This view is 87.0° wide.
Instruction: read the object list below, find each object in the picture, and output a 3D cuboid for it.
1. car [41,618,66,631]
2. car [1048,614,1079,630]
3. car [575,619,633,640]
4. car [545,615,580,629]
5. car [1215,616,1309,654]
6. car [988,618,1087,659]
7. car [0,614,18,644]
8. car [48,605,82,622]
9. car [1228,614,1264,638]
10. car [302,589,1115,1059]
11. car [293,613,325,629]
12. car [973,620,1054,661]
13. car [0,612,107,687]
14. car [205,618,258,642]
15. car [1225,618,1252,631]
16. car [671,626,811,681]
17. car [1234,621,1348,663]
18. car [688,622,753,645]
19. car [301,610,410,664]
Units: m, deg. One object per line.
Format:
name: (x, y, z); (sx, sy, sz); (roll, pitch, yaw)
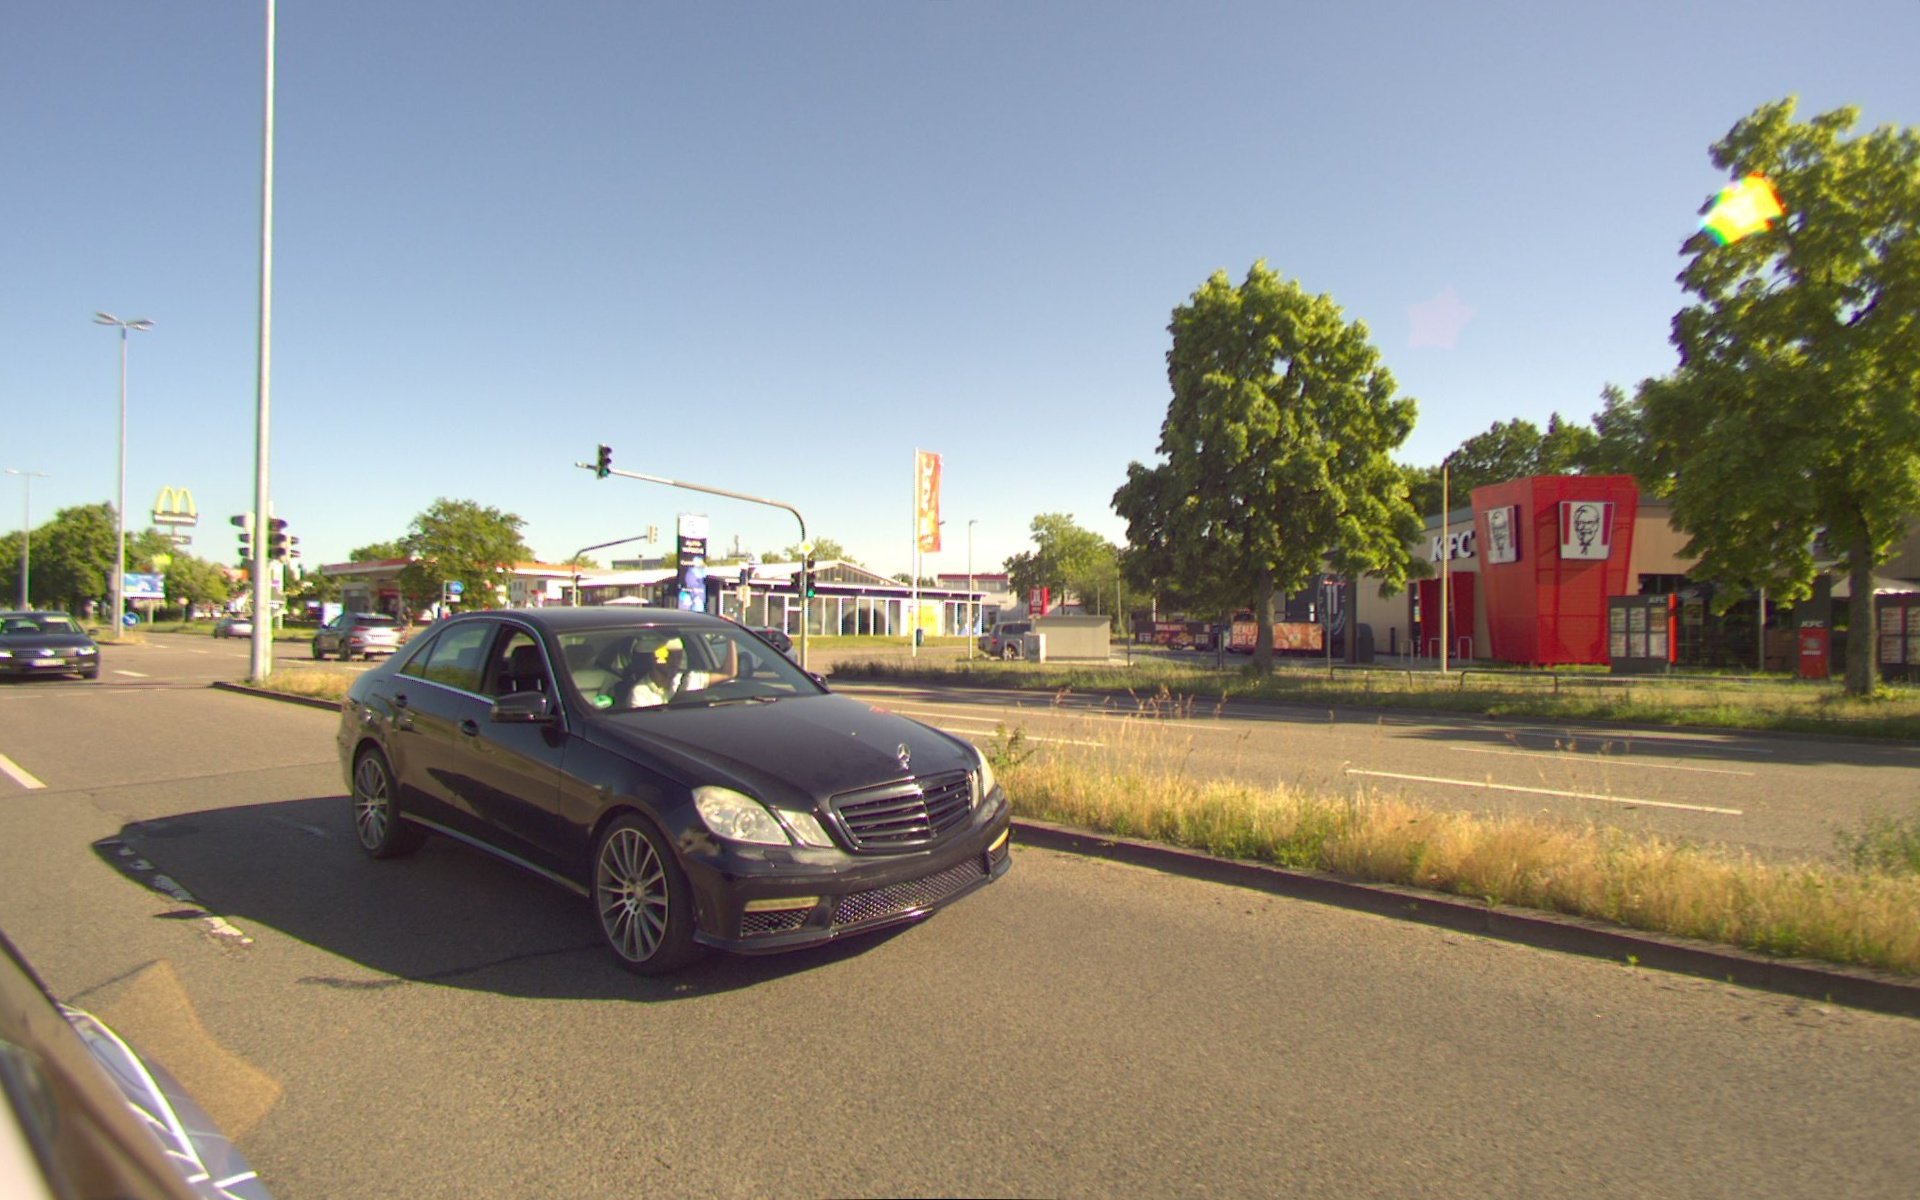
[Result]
car: (-109.833, 2.918, 122.580); (4.457, 1.443, 1.677); (0, -3, 42)
car: (14.193, 3.036, 138.646); (4.063, 2.109, 1.900); (2, -2, 1)
car: (-24.420, 2.036, 69.401); (4.116, 1.335, 1.876); (0, -3, 40)
car: (-43.414, 2.387, 110.453); (4.116, 1.451, 1.750); (-1, -2, 40)
car: (14.611, 1.686, 49.159); (3.940, 1.762, 1.885); (1, -2, -4)
car: (3.297, 1.656, 43.635); (4.073, 1.674, 1.896); (1, -2, -1)
car: (-48.081, 1.404, 50.045); (4.115, 1.466, 1.767); (-1, -2, 42)
car: (-85.444, 1.283, 96.614); (4.265, 1.612, 1.875); (0, -3, 42)
car: (24.323, 2.218, 85.930); (1.902, 1.857, 4.254); (0, -2, 31)
car: (-1.750, 0.746, 5.598); (4.916, 1.494, 1.938); (-1, -1, 42)
car: (-71.025, 2.267, 110.410); (4.116, 1.625, 1.740); (0, -3, 40)
car: (2.509, 1.899, 48.265); (3.778, 1.864, 1.847); (0, 0, 1)
car: (-19.942, 0.994, 21.773); (4.264, 1.464, 1.824); (-1, -1, 42)
car: (-49.224, 2.041, 68.340); (4.193, 1.537, 1.973); (-1, -3, 41)
car: (39.540, 3.511, 143.852); (2.069, 1.813, 4.793); (2, -2, -6)
car: (-6.588, 1.547, 30.301); (4.194, 1.485, 1.973); (0, -2, 41)
car: (14.032, 1.774, 43.010); (4.181, 1.674, 1.896); (0, 0, -1)
car: (-16.569, 2.349, 70.169); (1.900, 1.443, 4.063); (0, -3, 41)
car: (-20.090, 1.213, 33.567); (4.169, 1.654, 1.855); (0, -3, 41)
